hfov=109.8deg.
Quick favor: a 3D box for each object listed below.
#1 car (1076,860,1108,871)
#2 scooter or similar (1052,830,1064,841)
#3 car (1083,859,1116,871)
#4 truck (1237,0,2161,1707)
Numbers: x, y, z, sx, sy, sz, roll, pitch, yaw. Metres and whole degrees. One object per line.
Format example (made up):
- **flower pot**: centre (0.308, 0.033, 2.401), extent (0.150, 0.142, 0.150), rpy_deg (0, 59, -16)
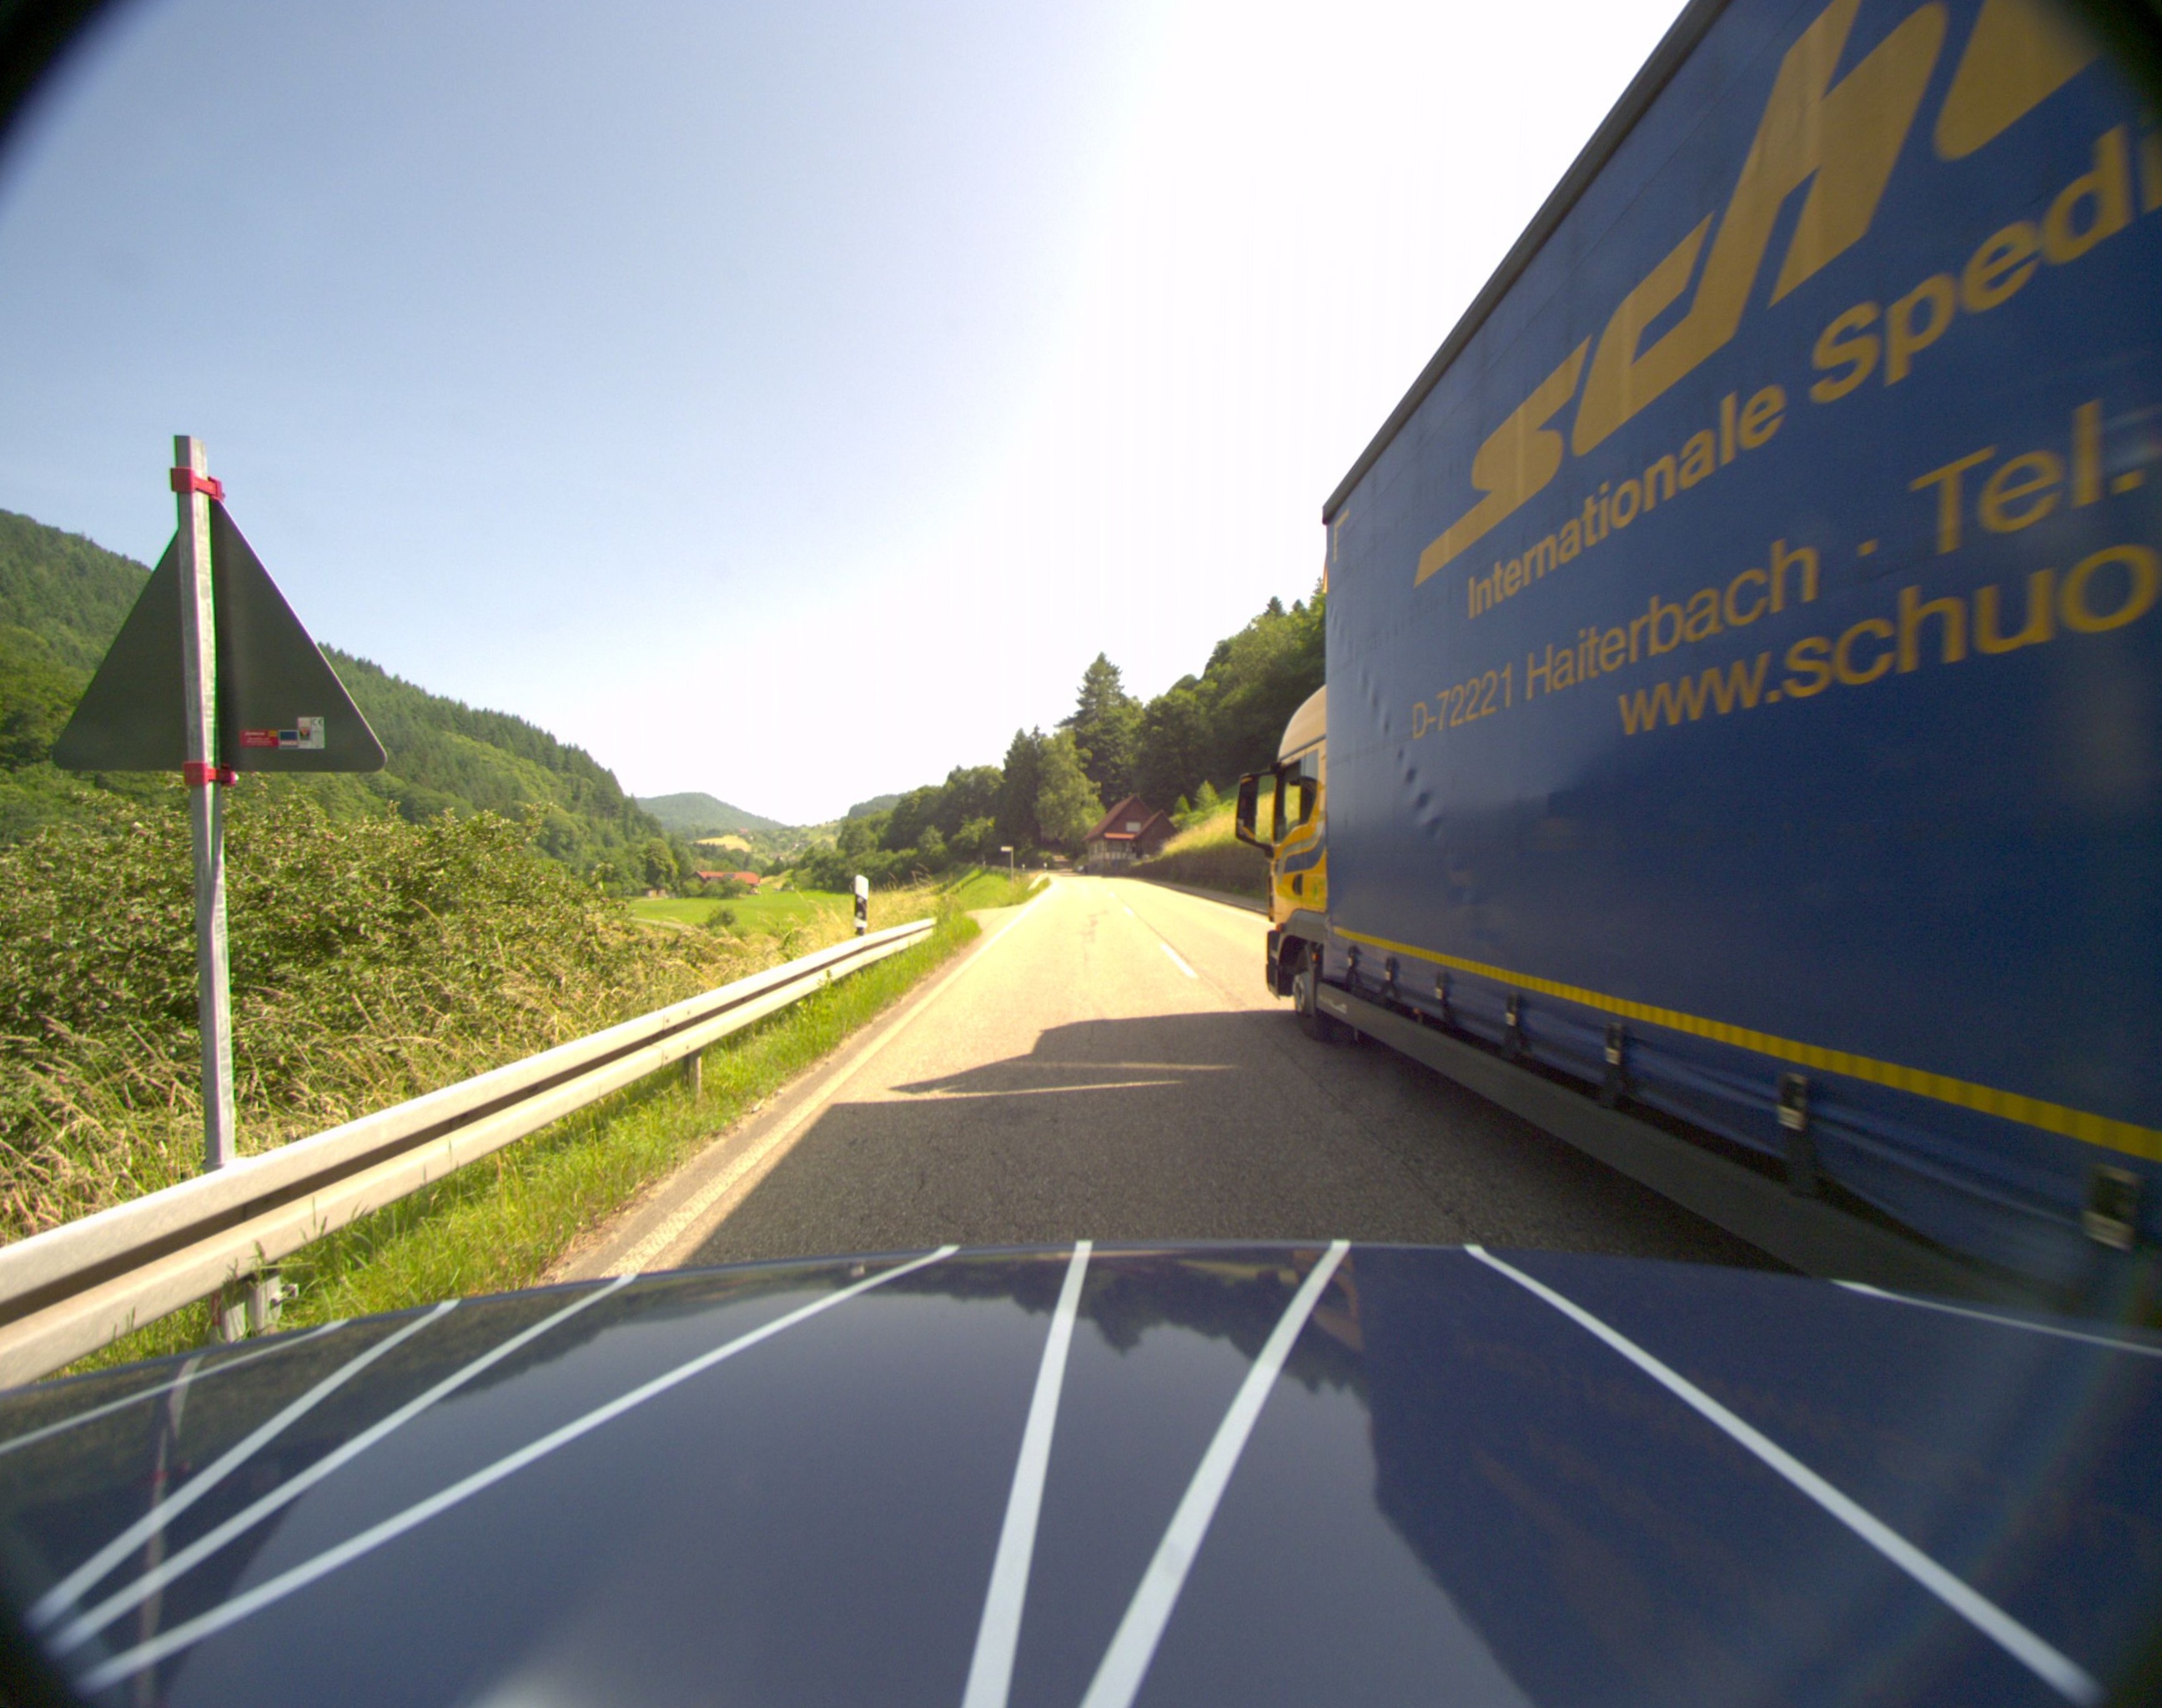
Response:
- **car**: centre (1.419, 1.430, 97.904), extent (3.831, 1.408, 1.855), rpy_deg (0, -1, -14)
- **scooter or similar**: centre (-4.607, -3.618, 152.256), extent (1.984, 2.015, 4.402), rpy_deg (-4, 1, -7)
- **car**: centre (2.328, 1.345, 95.481), extent (3.831, 1.424, 1.861), rpy_deg (1, 1, -14)
- **truck**: centre (3.187, -0.649, 4.309), extent (3.196, 4.370, 6.573), rpy_deg (-2, -1, 1)
